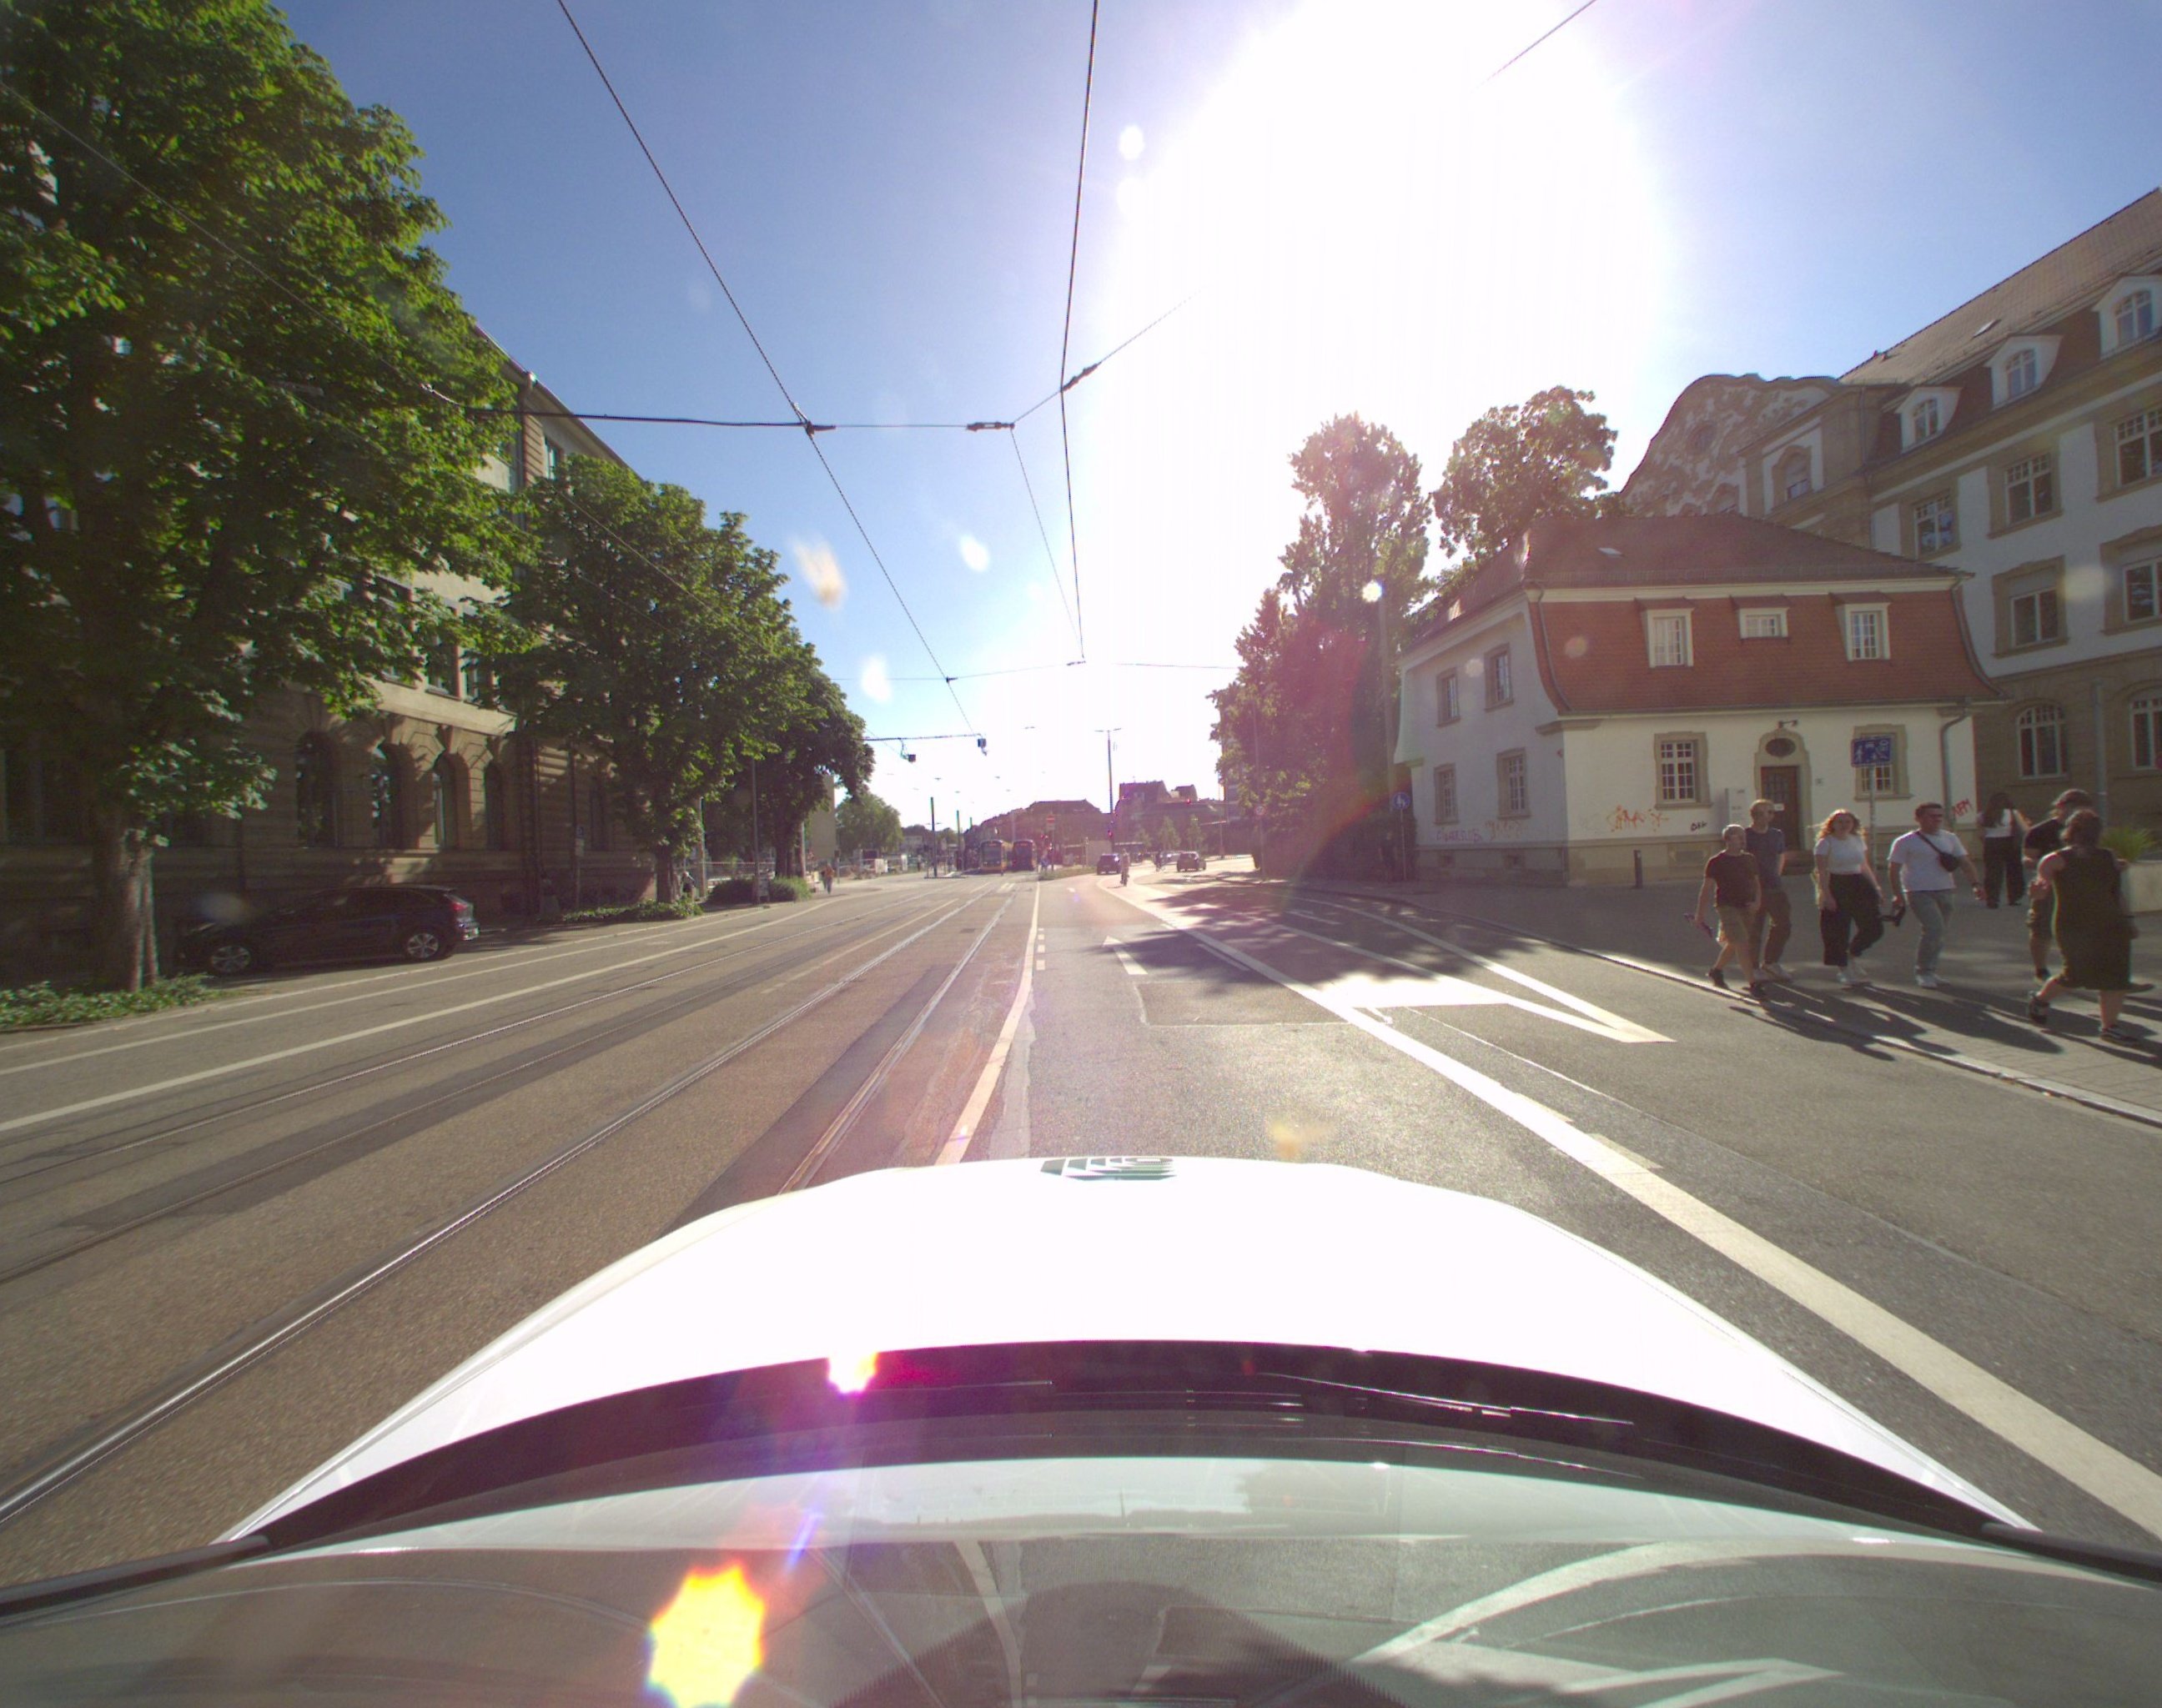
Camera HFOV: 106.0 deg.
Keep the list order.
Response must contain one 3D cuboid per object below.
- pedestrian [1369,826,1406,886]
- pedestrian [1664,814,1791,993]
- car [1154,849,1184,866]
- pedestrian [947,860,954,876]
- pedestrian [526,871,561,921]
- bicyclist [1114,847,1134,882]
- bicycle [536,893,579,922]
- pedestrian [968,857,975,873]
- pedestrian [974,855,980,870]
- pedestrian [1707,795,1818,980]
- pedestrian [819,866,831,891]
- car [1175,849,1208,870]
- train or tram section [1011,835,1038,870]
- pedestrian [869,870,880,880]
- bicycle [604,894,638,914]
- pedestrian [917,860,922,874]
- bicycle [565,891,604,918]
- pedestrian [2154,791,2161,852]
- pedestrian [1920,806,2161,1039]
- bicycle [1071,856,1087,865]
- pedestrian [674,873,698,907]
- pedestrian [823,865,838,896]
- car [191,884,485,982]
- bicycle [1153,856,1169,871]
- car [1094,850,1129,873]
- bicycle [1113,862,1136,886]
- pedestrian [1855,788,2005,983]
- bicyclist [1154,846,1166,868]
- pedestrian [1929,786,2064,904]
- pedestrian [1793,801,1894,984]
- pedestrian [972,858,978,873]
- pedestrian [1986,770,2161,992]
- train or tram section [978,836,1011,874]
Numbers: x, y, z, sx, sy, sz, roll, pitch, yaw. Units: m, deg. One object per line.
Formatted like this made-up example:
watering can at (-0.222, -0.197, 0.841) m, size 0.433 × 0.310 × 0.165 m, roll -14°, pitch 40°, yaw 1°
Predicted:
pedestrian at (10.262, 0.061, 27.278) m, size 0.636 × 1.903 × 1.134 m, roll -5°, pitch 0°, yaw -2°
pedestrian at (6.750, 0.496, 8.544) m, size 0.603 × 1.746 × 0.719 m, roll -6°, pitch 0°, yaw 5°
car at (9.234, 0.362, 85.425) m, size 1.685 × 1.643 × 3.736 m, roll -1°, pitch 0°, yaw 32°
pedestrian at (-15.085, 1.571, 94.176) m, size 0.625 × 1.827 × 0.661 m, roll -3°, pitch 0°, yaw -4°
pedestrian at (-18.046, 1.392, 27.352) m, size 0.699 × 1.635 × 0.758 m, roll 0°, pitch 0°, yaw -3°
bicyclist at (2.162, 0.515, 40.693) m, size 0.699 × 1.675 × 1.106 m, roll -1°, pitch 0°, yaw 17°
bicycle at (-18.796, 1.901, 29.282) m, size 0.479 × 0.917 × 1.618 m, roll -3°, pitch 0°, yaw -2°
pedestrian at (-12.033, 1.212, 89.777) m, size 0.625 × 1.827 × 0.661 m, roll -3°, pitch 0°, yaw -4°
pedestrian at (-12.762, 1.033, 100.001) m, size 0.625 × 1.827 × 0.661 m, roll -3°, pitch 0°, yaw -4°
pedestrian at (7.385, 0.353, 8.853) m, size 0.516 × 1.902 × 0.612 m, roll -6°, pitch 0°, yaw 5°
pedestrian at (-17.669, 1.705, 56.187) m, size 0.621 × 1.697 × 0.674 m, roll -3°, pitch 0°, yaw -24°
car at (8.703, 0.422, 64.168) m, size 1.774 × 1.511 × 3.731 m, roll -1°, pitch 0°, yaw 20°
train or tram section at (-6.456, -0.172, 94.508) m, size 2.736 × 3.651 × 13.768 m, roll -3°, pitch 0°, yaw -3°
pedestrian at (-21.724, 2.192, 85.671) m, size 0.895 × 1.046 × 0.655 m, roll -3°, pitch 0°, yaw -3°
bicycle at (-19.076, 2.048, 33.800) m, size 0.479 × 0.724 × 1.618 m, roll -3°, pitch 0°, yaw -2°
pedestrian at (-23.166, 1.819, 116.901) m, size 0.523 × 2.013 × 0.522 m, roll -3°, pitch 0°, yaw 1°
bicycle at (-18.896, 1.928, 31.024) m, size 0.479 × 0.917 × 1.618 m, roll -3°, pitch 0°, yaw -2°
pedestrian at (6.924, 0.448, 4.579) m, size 0.493 × 1.727 × 0.816 m, roll -7°, pitch 0°, yaw 0°
pedestrian at (7.258, 0.488, 6.191) m, size 0.821 × 1.604 × 0.899 m, roll -7°, pitch 0°, yaw 25°
bicycle at (-0.261, 0.801, 105.250) m, size 1.931 × 1.103 × 0.598 m, roll -3°, pitch 0°, yaw -6°
pedestrian at (-18.150, 1.657, 37.419) m, size 0.925 × 1.504 × 0.699 m, roll -3°, pitch 0°, yaw -25°
pedestrian at (-14.369, 1.512, 46.727) m, size 0.637 × 1.697 × 0.815 m, roll -4°, pitch 0°, yaw -15°
car at (-14.579, 1.475, 16.333) m, size 4.013 × 1.550 × 1.859 m, roll -2°, pitch -1°, yaw -31°
bicycle at (6.423, 0.753, 65.405) m, size 0.699 × 1.055 × 2.326 m, roll 0°, pitch 1°, yaw 22°
car at (2.380, 0.554, 62.572) m, size 1.775 × 1.604 × 3.728 m, roll -1°, pitch 0°, yaw 16°
bicycle at (2.182, 0.984, 40.734) m, size 0.699 × 1.104 × 1.725 m, roll -1°, pitch 0°, yaw 17°
pedestrian at (8.291, 0.295, 7.984) m, size 0.606 × 1.774 × 0.655 m, roll -7°, pitch 0°, yaw 13°
bicyclist at (6.344, 0.255, 65.211) m, size 0.699 × 1.700 × 0.992 m, roll 0°, pitch 1°, yaw 22°
pedestrian at (13.527, -0.119, 12.058) m, size 0.990 × 1.640 × 0.857 m, roll -3°, pitch -2°, yaw -10°
pedestrian at (7.787, 0.379, 8.351) m, size 0.523 × 1.774 × 0.741 m, roll -7°, pitch 0°, yaw 38°
pedestrian at (-12.383, 1.338, 95.210) m, size 0.625 × 1.827 × 0.661 m, roll -3°, pitch 0°, yaw -4°
pedestrian at (8.822, 0.226, 7.195) m, size 0.654 × 1.802 × 0.732 m, roll -6°, pitch 0°, yaw 5°
train or tram section at (-9.240, 0.045, 88.545) m, size 2.736 × 3.651 × 13.768 m, roll -3°, pitch 0°, yaw -3°
